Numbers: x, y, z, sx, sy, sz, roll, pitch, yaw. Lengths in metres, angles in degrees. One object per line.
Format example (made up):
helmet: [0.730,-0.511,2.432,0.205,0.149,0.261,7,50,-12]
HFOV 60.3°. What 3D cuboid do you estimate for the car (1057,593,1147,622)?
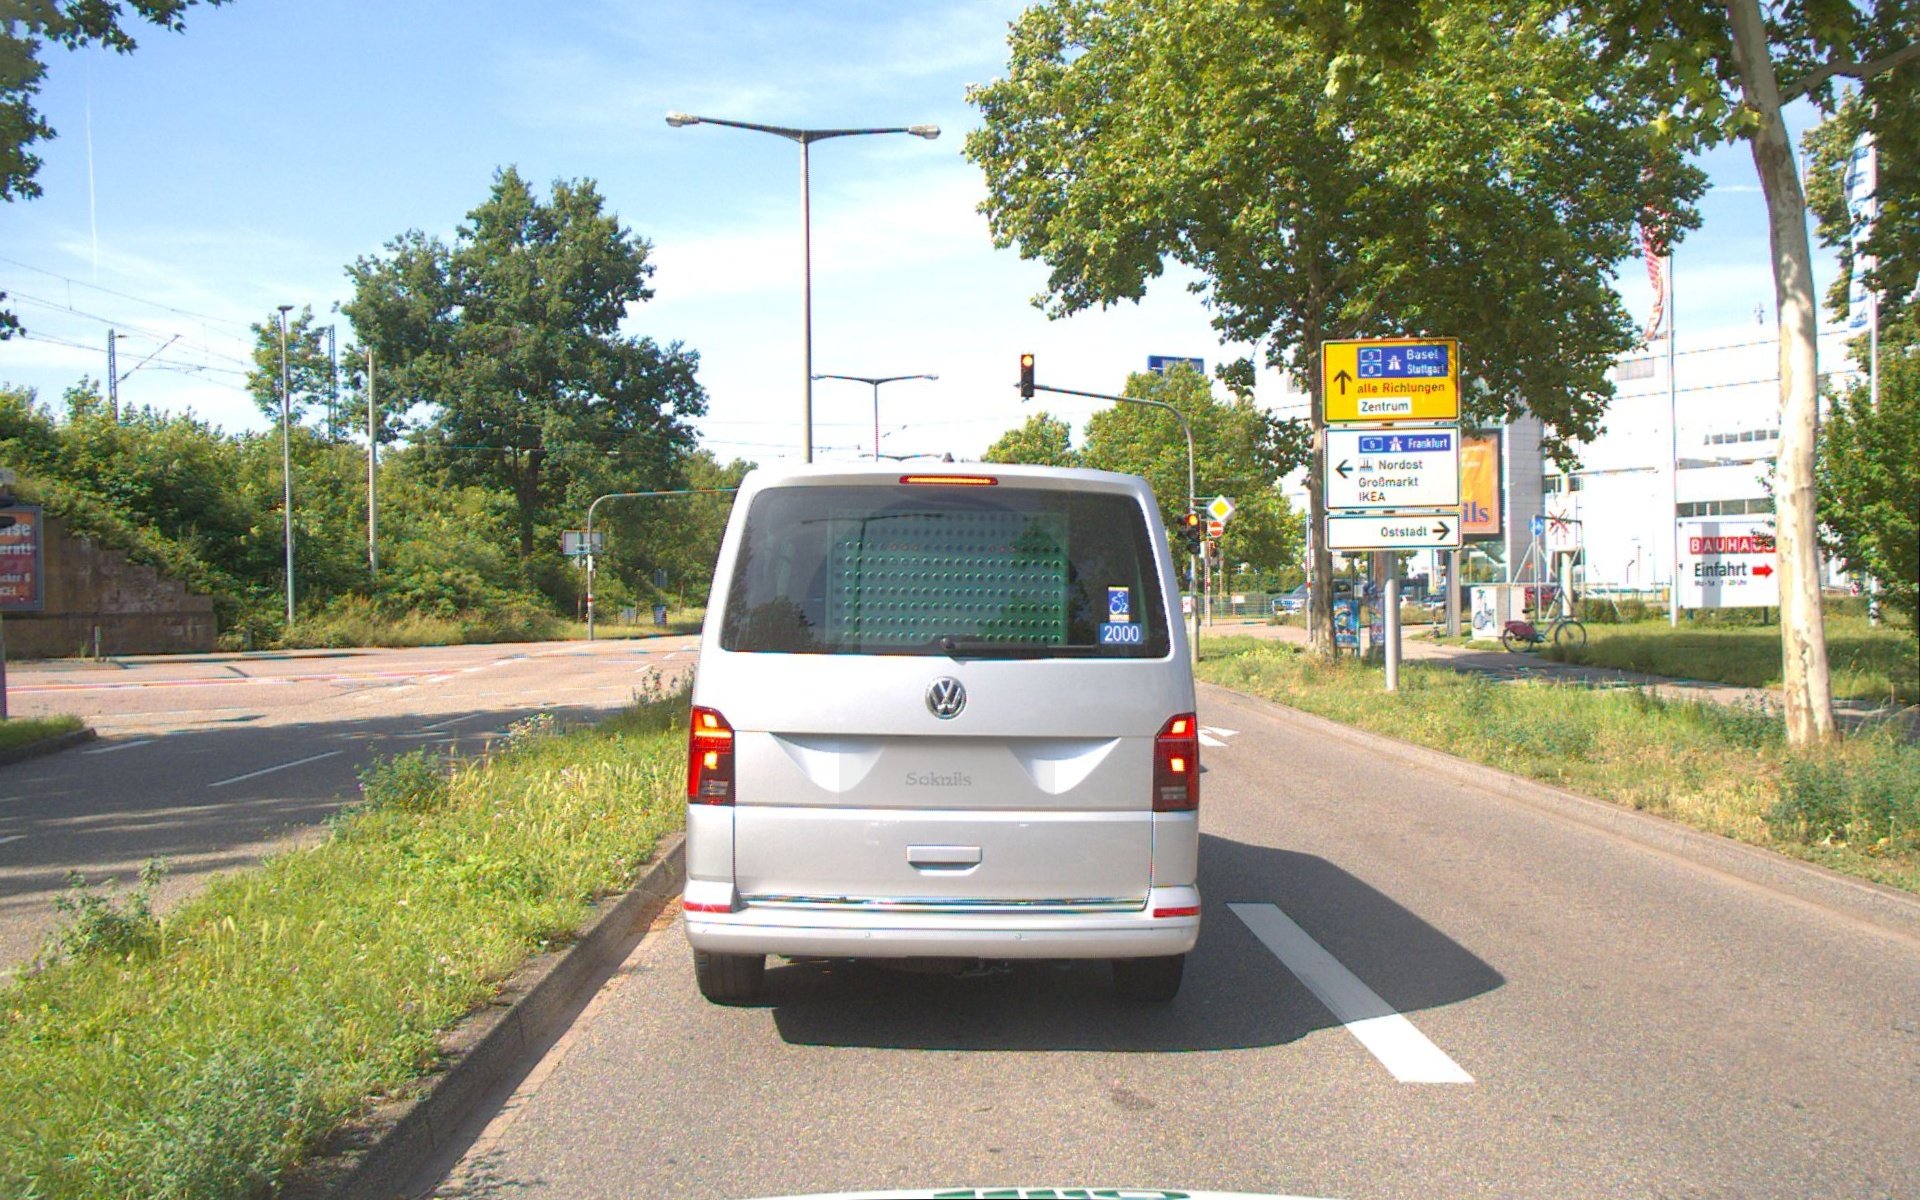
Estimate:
car: [7.539,0.401,88.029,4.535,1.469,1.775,-1,0,37]

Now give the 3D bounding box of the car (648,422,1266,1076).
car: [-0.043,0.451,7.632,1.902,2.006,5.021,0,0,-1]

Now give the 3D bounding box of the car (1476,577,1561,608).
car: [27.853,-0.389,82.461,4.578,1.469,1.758,-1,0,-38]

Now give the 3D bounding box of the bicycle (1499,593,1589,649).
bicycle: [12.500,0.458,35.445,1.748,1.127,0.504,-3,-1,18]

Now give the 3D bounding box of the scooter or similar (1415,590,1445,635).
scooter or similar: [12.086,0.317,42.570,0.416,1.146,1.123,-1,0,-2]

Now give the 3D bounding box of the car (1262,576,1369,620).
car: [14.862,-0.100,69.038,4.578,1.718,1.890,-1,0,-38]

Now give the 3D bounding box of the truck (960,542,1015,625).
truck: [1.376,-0.830,86.112,2.501,4.026,8.972,-1,0,-1]
